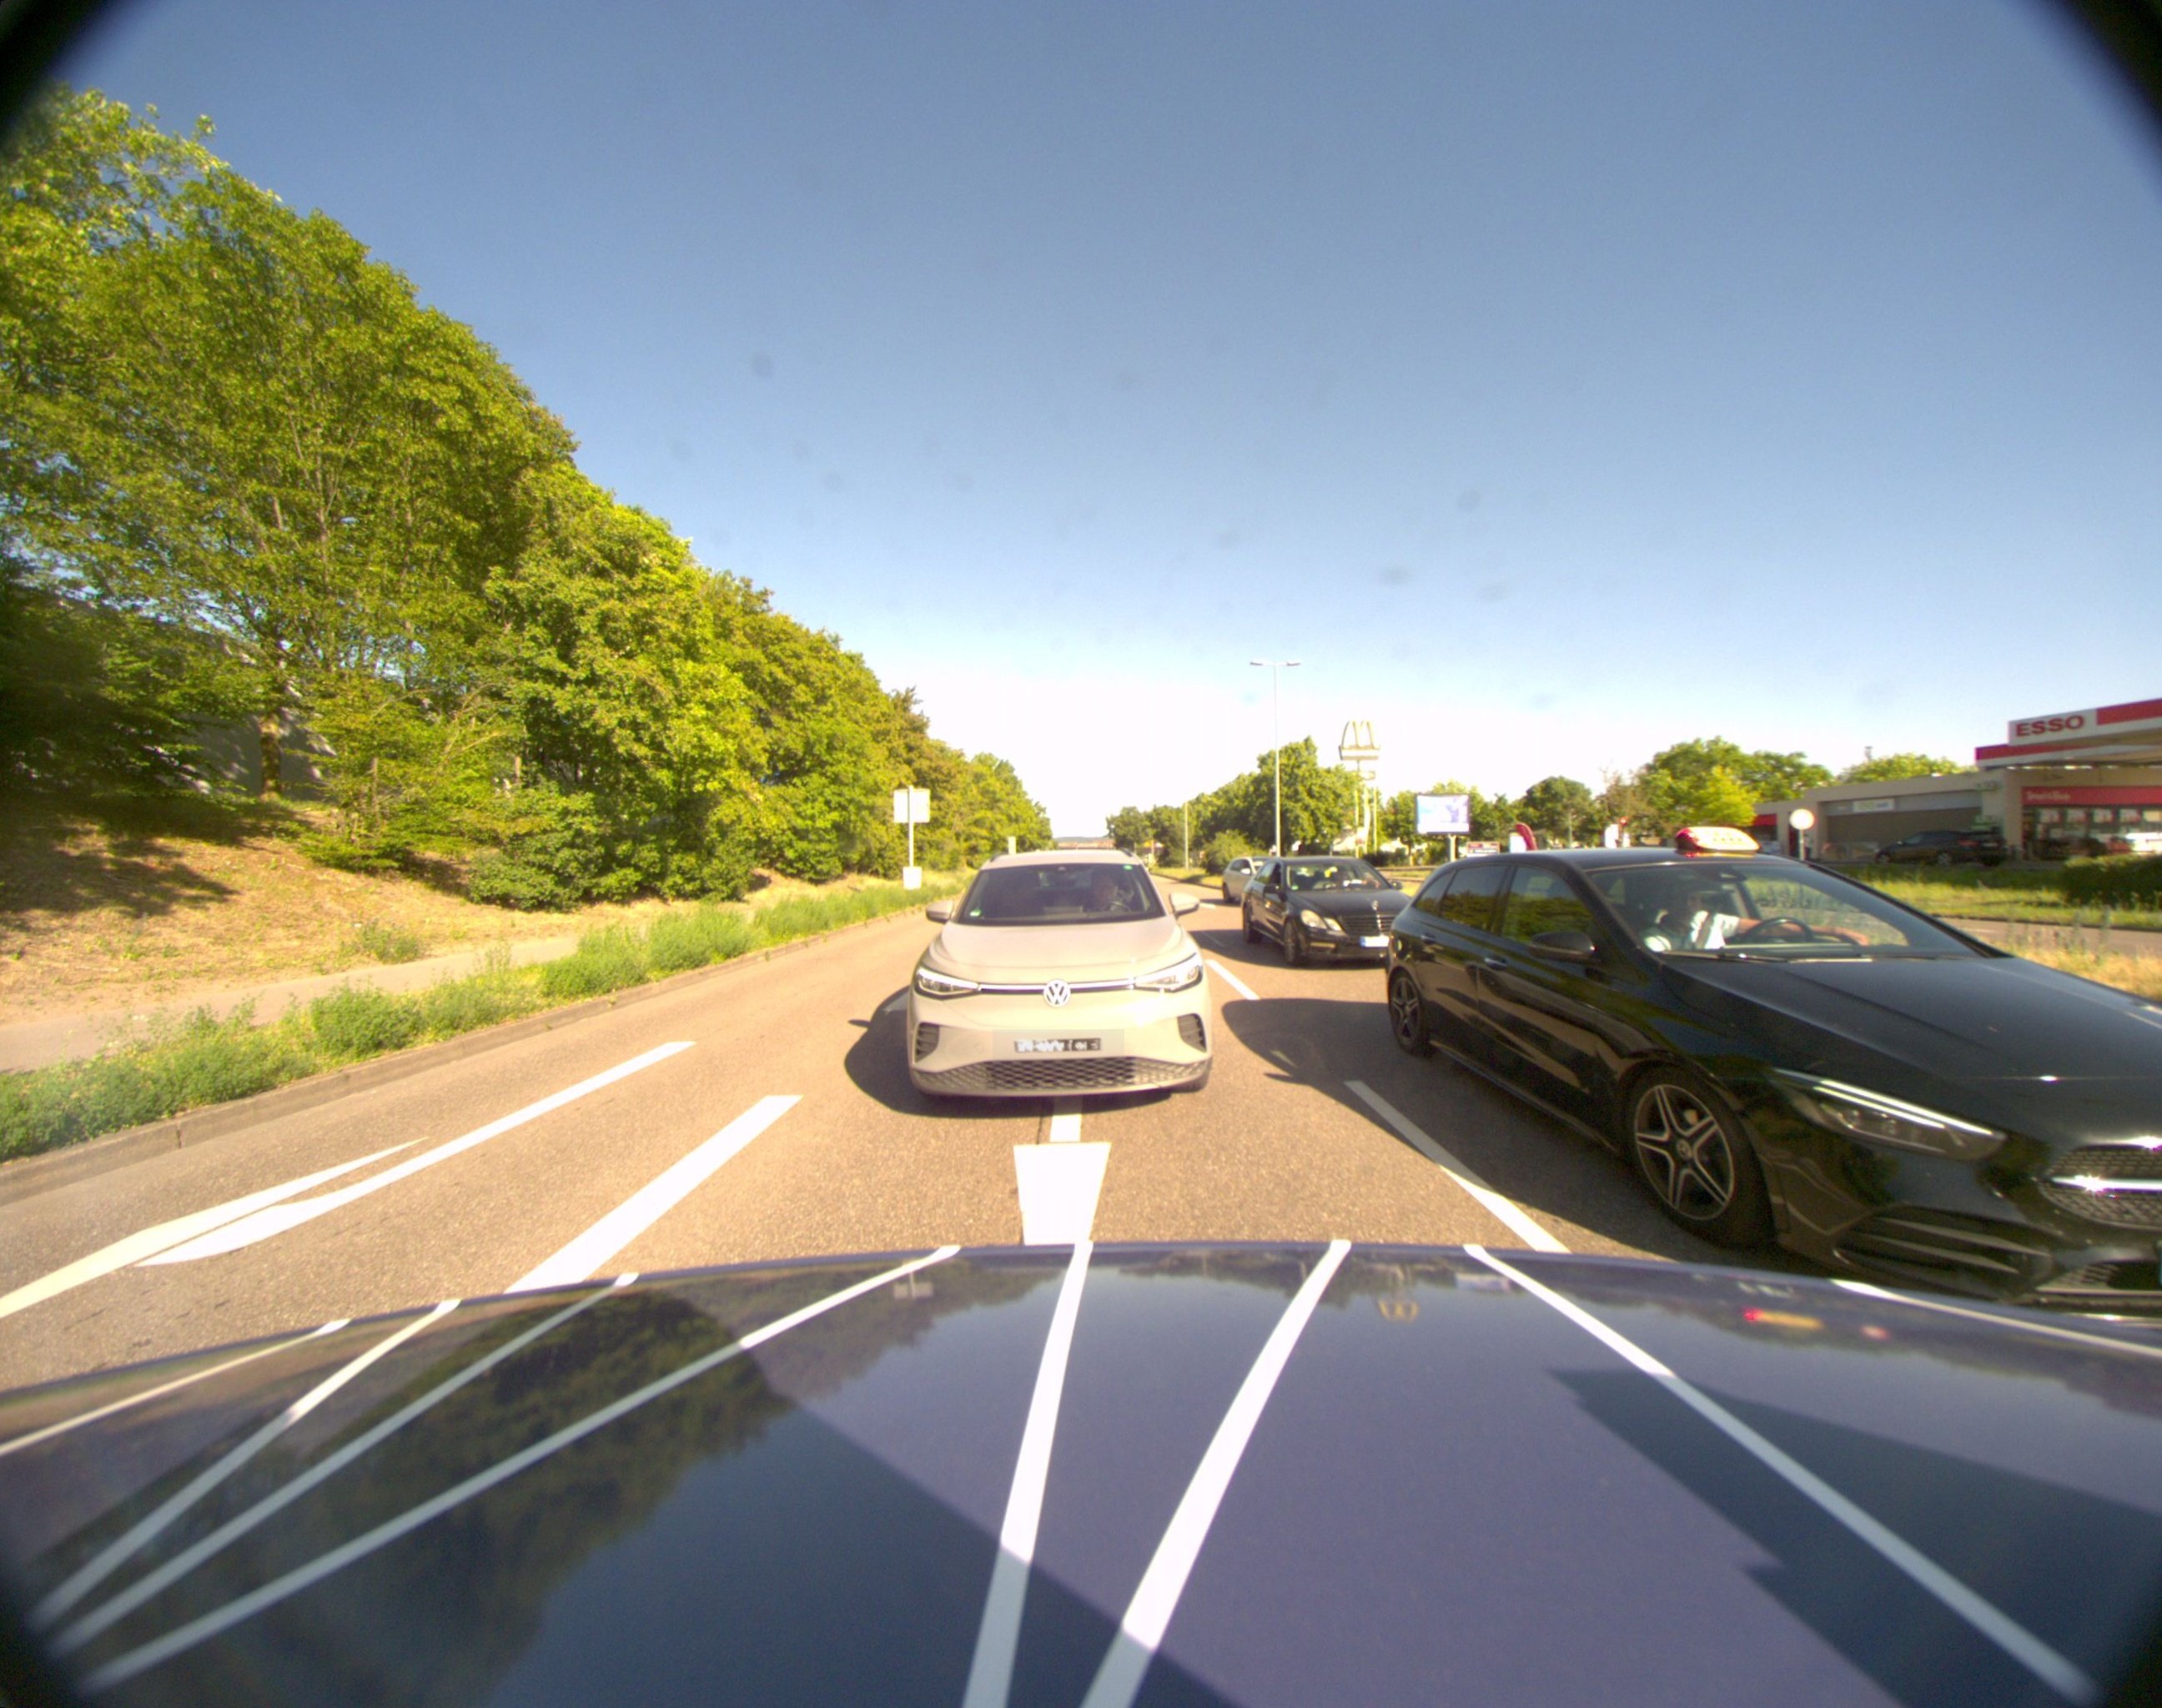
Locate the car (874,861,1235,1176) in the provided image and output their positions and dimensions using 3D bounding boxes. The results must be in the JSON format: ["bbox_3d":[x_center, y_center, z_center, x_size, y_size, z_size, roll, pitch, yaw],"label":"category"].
[{"bbox_3d":[-0.113,0.898,5.998,1.871,1.588,3.932,-2,0,1],"label":"car"}]

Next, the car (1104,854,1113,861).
[{"bbox_3d":[6.007,0.717,167.610,1.862,1.578,4.403,-1,0,1],"label":"car"}]

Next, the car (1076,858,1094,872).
[{"bbox_3d":[0.544,1.481,102.809,2.289,1.863,5.268,-1,0,1],"label":"car"}]

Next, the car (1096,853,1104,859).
[{"bbox_3d":[5.067,0.581,201.938,1.862,1.578,4.403,-1,0,1],"label":"car"}]

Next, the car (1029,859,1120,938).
[{"bbox_3d":[-0.109,0.898,16.973,1.765,1.503,3.760,-2,0,1],"label":"car"}]

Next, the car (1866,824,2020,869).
[{"bbox_3d":[36.690,-0.314,32.517,1.998,1.759,4.118,-1,0,2],"label":"car"}]

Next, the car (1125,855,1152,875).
[{"bbox_3d":[4.625,0.867,61.721,1.862,1.472,4.403,-1,0,1],"label":"car"}]

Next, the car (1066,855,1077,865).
[{"bbox_3d":[-1.624,1.022,132.933,1.862,1.578,4.403,-1,0,1],"label":"car"}]

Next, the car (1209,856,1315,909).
[{"bbox_3d":[5.436,0.806,23.426,1.863,1.421,4.401,-1,0,-5],"label":"car"}]

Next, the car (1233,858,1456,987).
[{"bbox_3d":[3.650,0.849,11.443,1.862,1.515,4.403,-1,0,1],"label":"car"}]

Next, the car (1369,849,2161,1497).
[{"bbox_3d":[3.170,0.808,3.996,1.804,1.616,4.188,-1,0,2],"label":"car"}]
